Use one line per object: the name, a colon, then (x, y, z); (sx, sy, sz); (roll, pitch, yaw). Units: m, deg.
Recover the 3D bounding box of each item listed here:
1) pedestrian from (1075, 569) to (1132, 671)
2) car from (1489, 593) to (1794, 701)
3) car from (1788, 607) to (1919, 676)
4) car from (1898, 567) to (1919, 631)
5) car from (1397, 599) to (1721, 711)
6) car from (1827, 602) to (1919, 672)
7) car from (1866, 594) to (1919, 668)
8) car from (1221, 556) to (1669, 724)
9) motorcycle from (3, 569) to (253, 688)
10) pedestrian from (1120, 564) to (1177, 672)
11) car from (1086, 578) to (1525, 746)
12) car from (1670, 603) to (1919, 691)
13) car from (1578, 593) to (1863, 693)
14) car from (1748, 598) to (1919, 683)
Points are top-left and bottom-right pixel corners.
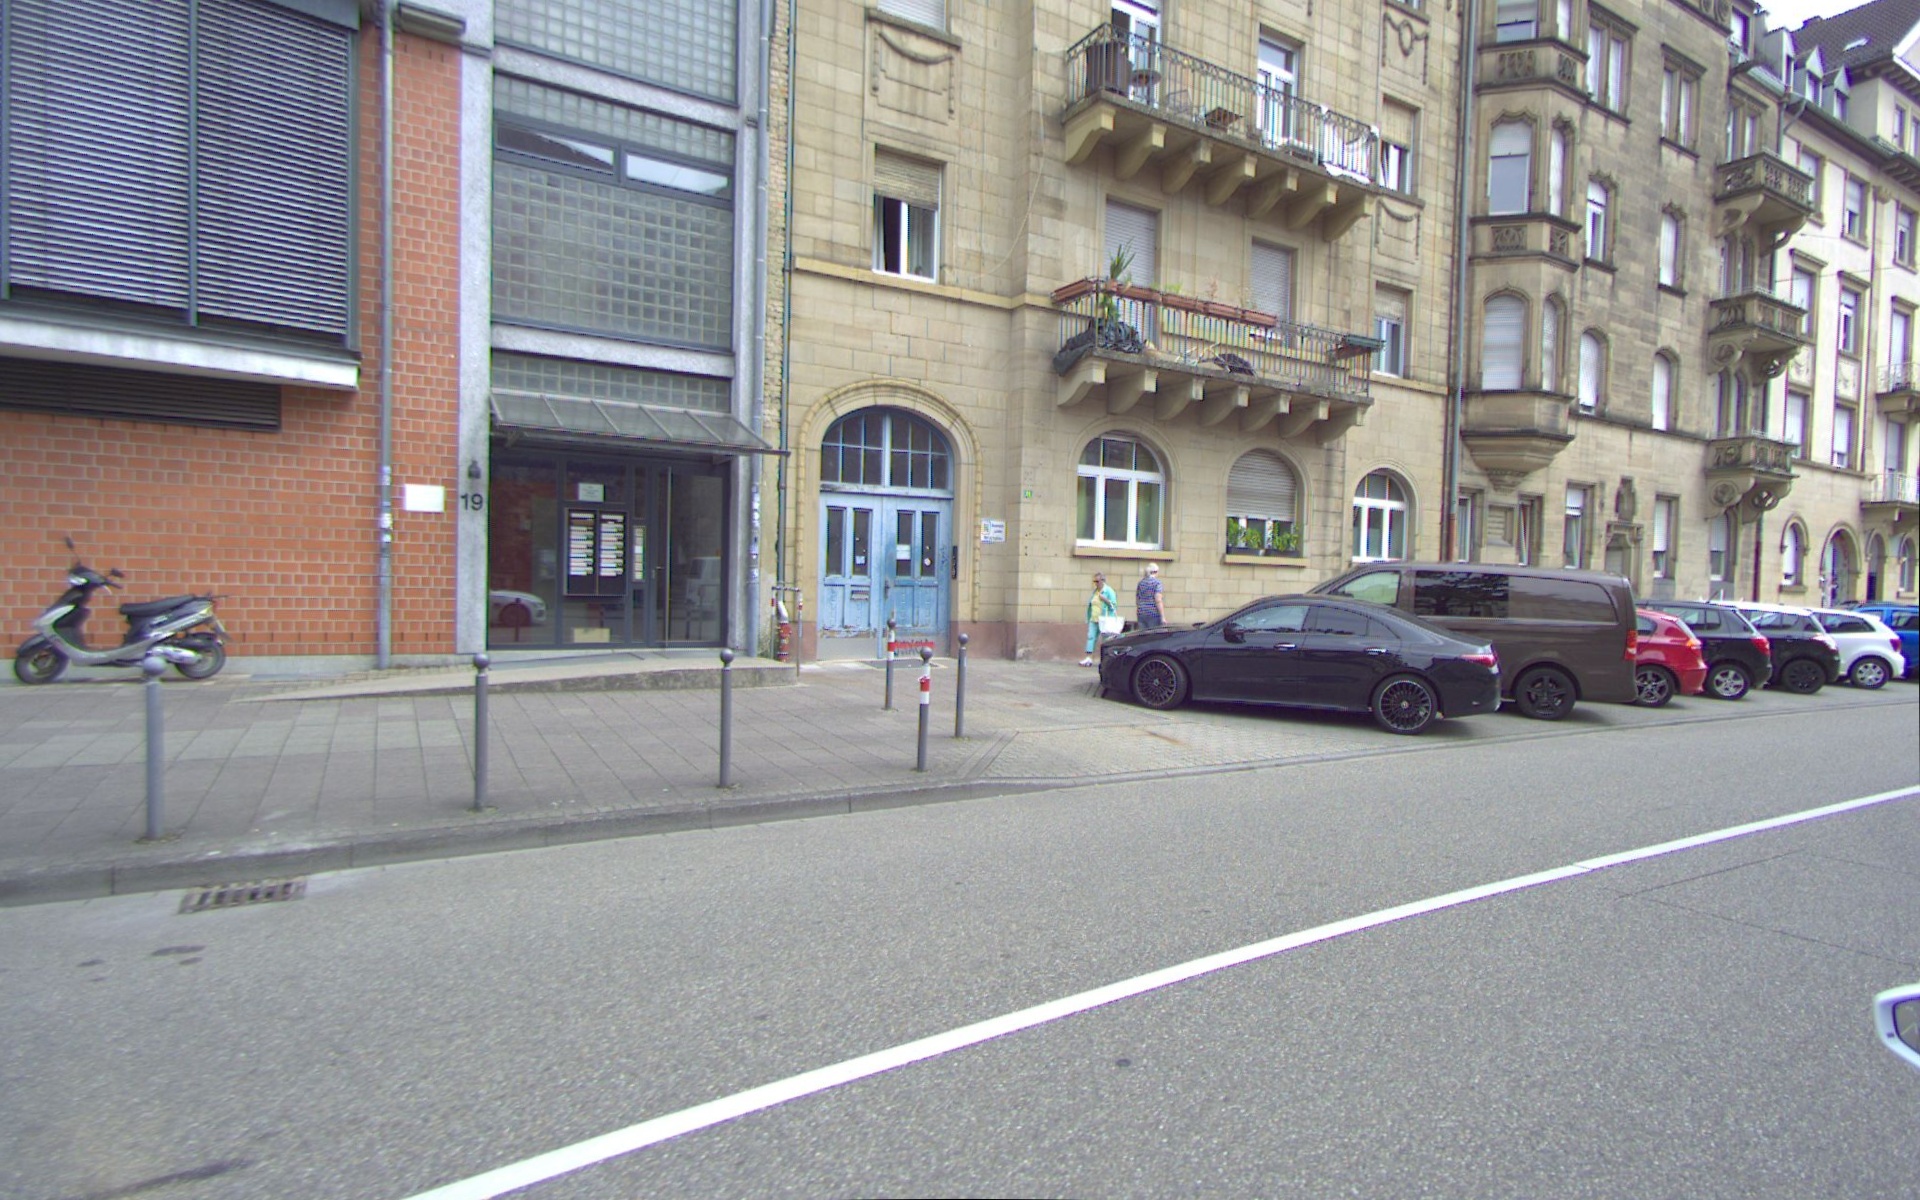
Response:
pedestrian: (2.186, 0.291, 15.311); (0.505, 1.505, 0.653); (0, 2, -43)
car: (11.084, 0.694, 16.690); (3.921, 1.523, 1.630); (2, 1, 25)
car: (21.963, 0.975, 23.325); (3.829, 1.463, 1.835); (2, 1, 25)
car: (62.070, 0.048, 59.355); (3.390, 3.968, 9.908); (1, 1, -5)
car: (8.948, 0.762, 15.409); (3.933, 1.428, 1.796); (2, 1, 19)
car: (24.422, 0.942, 24.956); (3.934, 1.674, 1.796); (2, 1, 22)
car: (26.651, 0.853, 26.271); (3.934, 1.904, 1.796); (2, 1, 22)
car: (6.490, 0.424, 13.989); (5.172, 1.935, 2.119); (2, 1, 26)
motorcycle: (-7.968, 0.259, 9.726); (1.772, 1.063, 0.580); (1, 3, -30)
pedestrian: (2.820, 0.253, 15.045); (0.642, 1.566, 0.506); (2, 2, 41)
car: (4.029, 0.611, 12.155); (4.581, 1.428, 1.899); (5, 4, 21)
car: (16.567, 0.868, 20.025); (3.616, 1.501, 1.740); (2, 1, 24)
car: (13.926, 0.718, 18.725); (3.939, 1.585, 1.794); (2, 1, 28)
car: (19.547, 0.840, 21.621); (3.706, 1.674, 1.723); (2, 1, 24)
